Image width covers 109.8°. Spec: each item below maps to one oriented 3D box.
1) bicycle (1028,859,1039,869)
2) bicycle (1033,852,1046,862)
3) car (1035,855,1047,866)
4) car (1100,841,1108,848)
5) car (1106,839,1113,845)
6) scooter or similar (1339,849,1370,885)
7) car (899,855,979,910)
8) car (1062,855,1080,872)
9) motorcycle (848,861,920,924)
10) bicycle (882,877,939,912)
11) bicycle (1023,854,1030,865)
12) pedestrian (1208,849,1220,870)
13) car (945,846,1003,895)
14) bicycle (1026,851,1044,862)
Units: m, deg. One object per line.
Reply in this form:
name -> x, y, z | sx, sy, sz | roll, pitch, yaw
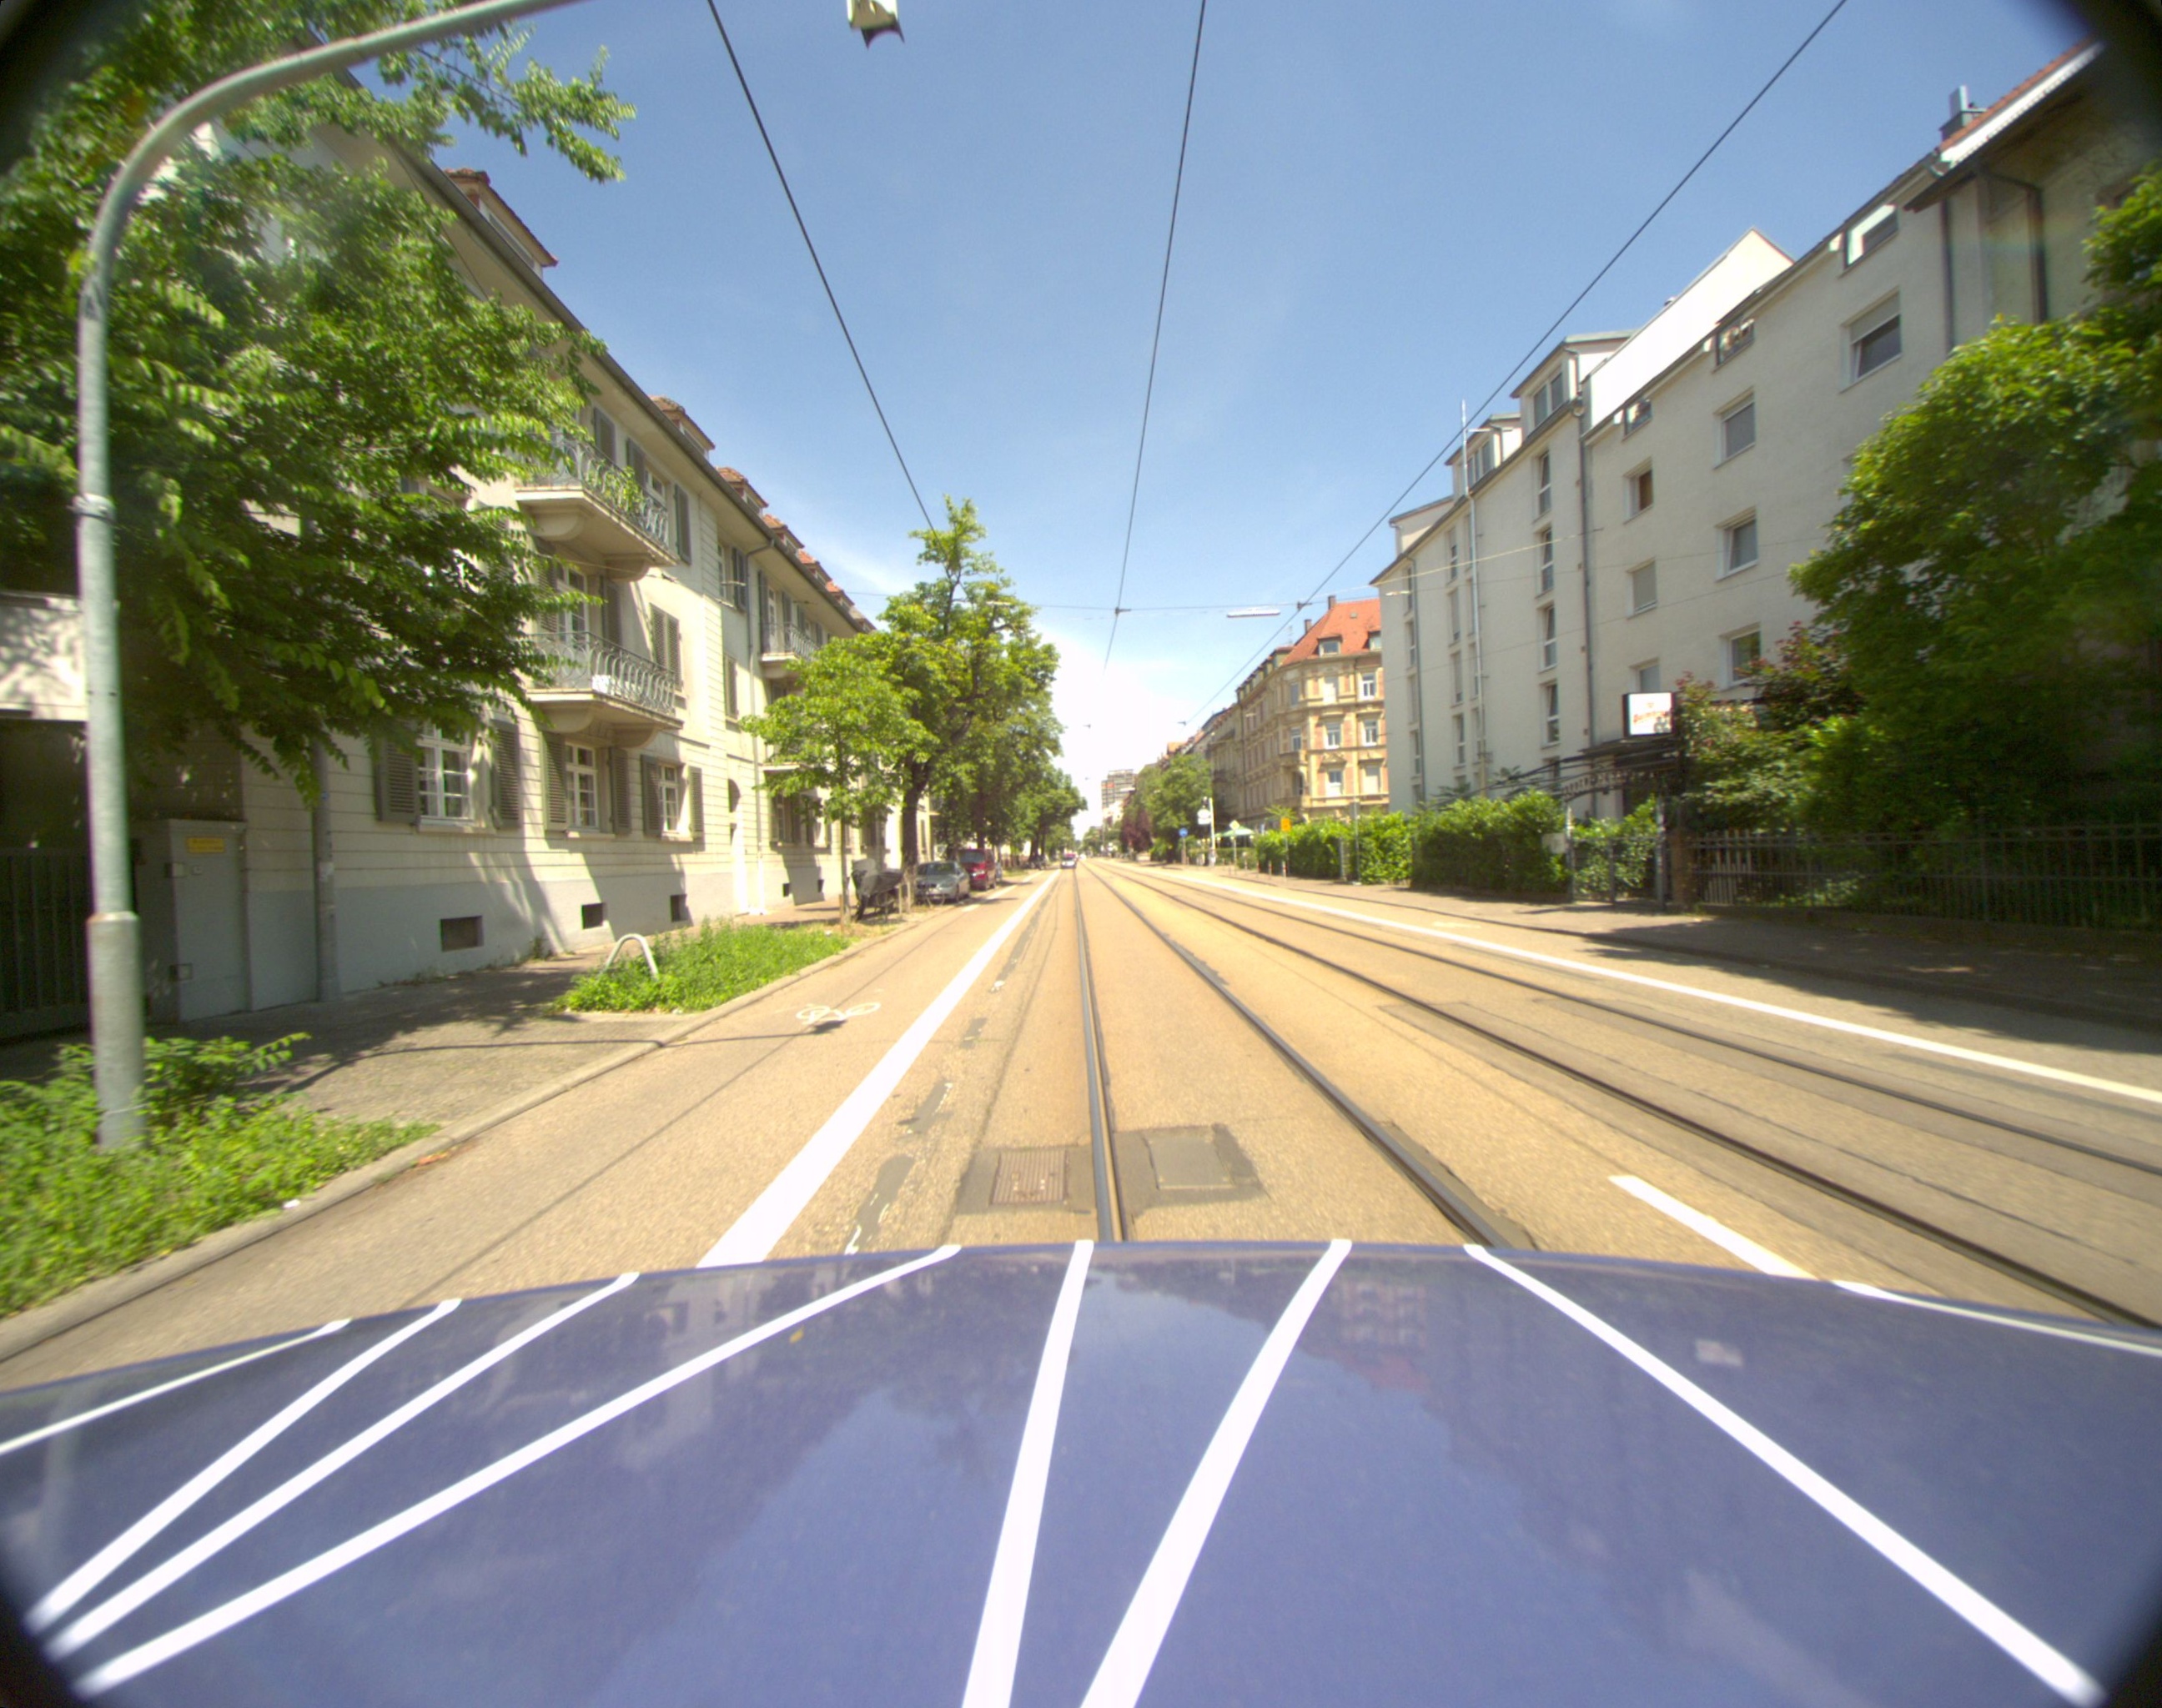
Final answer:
bicycle -> -5.277, 1.084, 84.987 | 1.169, 1.057, 0.280 | -3, 2, 2
bicycle -> -5.446, 0.377, 99.143 | 1.623, 1.194, 0.305 | -3, 2, 1
car -> -5.969, 0.927, 112.876 | 1.540, 1.535, 3.999 | -3, 1, -1
car -> 6.386, -2.690, 212.679 | 1.999, 1.717, 3.870 | -3, 2, -1
car -> 7.249, -2.975, 193.882 | 1.493, 1.372, 3.629 | -3, 1, -1
scooter or similar -> 11.435, 0.526, 31.808 | 1.011, 1.443, 0.597 | -3, 2, 0
car -> -4.940, 0.928, 27.203 | 1.864, 1.568, 4.876 | -3, 1, 0
car -> -1.103, 1.051, 85.426 | 1.893, 1.561, 4.036 | -3, 1, -1
motorcycle -> -5.164, 0.975, 20.176 | 0.746, 1.497, 2.560 | -2, 1, 11
bicycle -> -5.332, 1.274, 23.760 | 1.662, 1.010, 0.371 | -2, 1, 0
bicycle -> -6.102, 0.581, 84.751 | 0.284, 1.194, 1.625 | -4, 2, -20
pedestrian -> 10.289, 0.418, 58.652 | 0.742, 1.632, 0.939 | -3, 1, 2
car -> -4.919, 0.700, 35.697 | 1.864, 2.002, 4.975 | -3, 1, 1
bicycle -> -5.495, 0.279, 90.214 | 2.038, 1.194, 0.445 | -3, 2, 9
